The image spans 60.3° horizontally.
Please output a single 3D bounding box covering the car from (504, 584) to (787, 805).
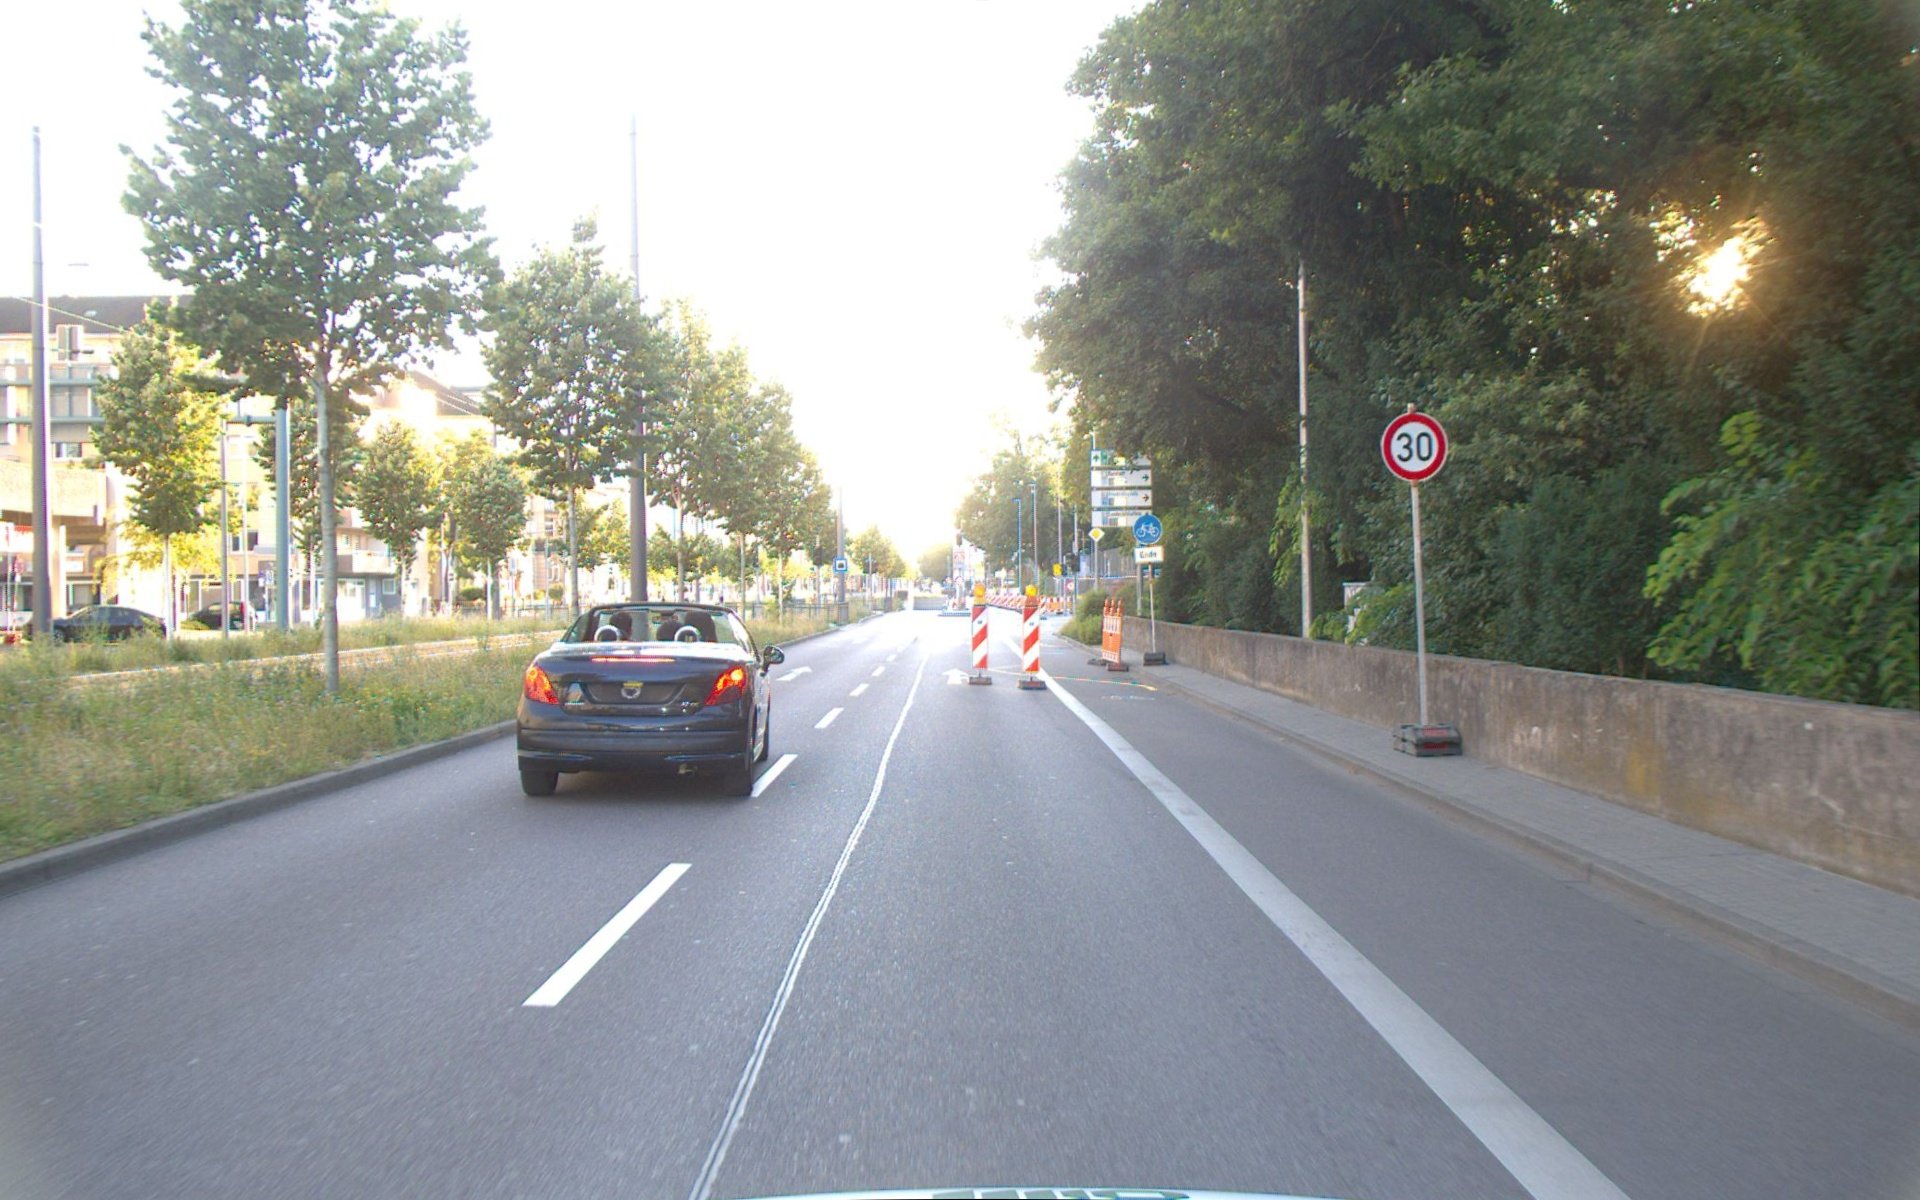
[{"bbox_3d":[-2.320,0.621,13.106,1.684,1.475,3.899,0,1,-3],"label":"car"}]

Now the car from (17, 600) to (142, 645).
[{"bbox_3d":[-31.815,0.807,59.801,3.700,1.475,1.717,-2,0,-43],"label":"car"}]

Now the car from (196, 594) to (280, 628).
[{"bbox_3d":[-42.135,0.647,96.591,3.854,1.878,2.191,-1,0,-1],"label":"car"}]
